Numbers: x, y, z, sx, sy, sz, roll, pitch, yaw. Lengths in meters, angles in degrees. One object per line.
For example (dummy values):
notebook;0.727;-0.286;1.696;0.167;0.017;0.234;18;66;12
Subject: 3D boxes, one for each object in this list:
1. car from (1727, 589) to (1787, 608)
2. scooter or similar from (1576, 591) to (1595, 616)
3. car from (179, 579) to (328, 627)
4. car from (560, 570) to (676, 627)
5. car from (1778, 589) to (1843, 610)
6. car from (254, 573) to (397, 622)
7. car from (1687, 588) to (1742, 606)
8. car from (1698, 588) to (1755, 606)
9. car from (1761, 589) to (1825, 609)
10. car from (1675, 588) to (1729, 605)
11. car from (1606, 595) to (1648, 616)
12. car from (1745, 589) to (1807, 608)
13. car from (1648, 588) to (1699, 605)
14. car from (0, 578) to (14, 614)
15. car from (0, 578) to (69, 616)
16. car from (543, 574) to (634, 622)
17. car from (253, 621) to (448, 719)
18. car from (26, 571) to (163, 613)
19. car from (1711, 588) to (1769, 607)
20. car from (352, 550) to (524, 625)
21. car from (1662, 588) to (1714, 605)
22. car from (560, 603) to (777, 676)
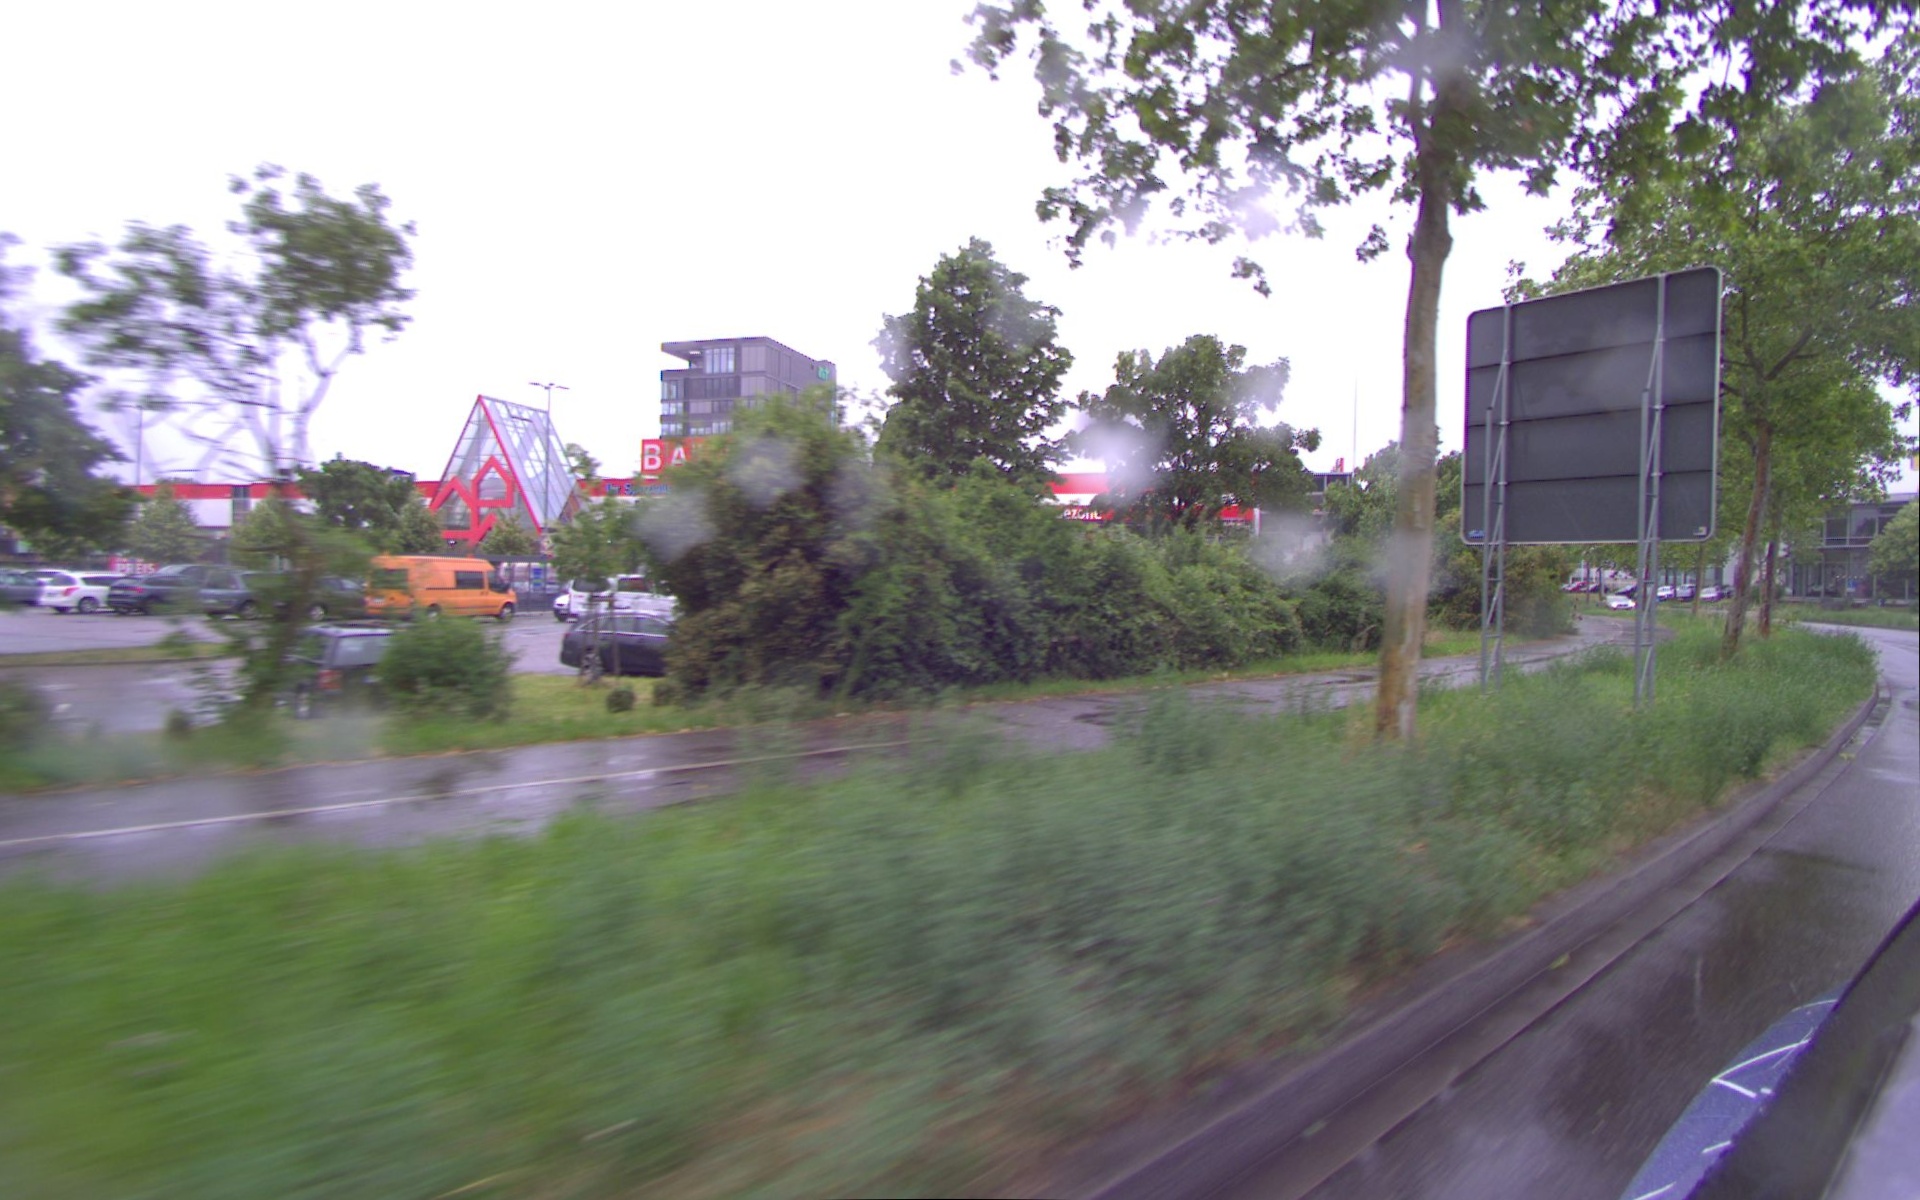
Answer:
car;72.570;-0.165;92.189;3.926;1.680;1.864;-1;0;2
scooter or similar;34.080;0.180;55.133;0.444;1.290;1.594;1;1;15
car;-25.821;0.081;37.192;1.911;1.655;4.320;0;0;14
car;-12.236;-0.092;36.558;1.799;1.894;4.493;1;1;15
car;72.322;-0.079;86.107;3.926;1.680;1.864;-1;0;2
car;-23.043;-0.100;36.971;1.911;1.655;4.320;0;0;14
car;73.793;-0.303;98.974;3.926;1.680;1.864;-1;0;2
car;73.322;-0.268;96.836;3.926;1.680;1.864;-1;0;2
car;72.442;-0.108;88.082;3.926;1.680;1.864;-1;0;2
car;74.194;-0.339;101.214;3.926;1.680;1.864;-1;0;2
car;56.375;0.449;85.597;1.974;1.671;3.976;0;1;19
car;72.573;-0.136;90.045;3.926;1.680;1.864;-1;0;2
car;74.411;-0.401;105.543;3.926;1.680;1.864;-1;0;2
car;-42.345;-0.182;42.433;1.781;1.546;3.487;0;0;22
car;-39.869;-0.135;42.334;1.781;1.546;3.487;0;0;22
car;-14.448;-0.102;39.566;1.727;1.766;3.607;1;1;12
car;-9.777;1.022;16.127;3.834;1.213;1.727;2;1;44
car;-33.610;-0.328;39.421;1.794;1.538;3.684;0;1;20
car;72.851;-0.230;94.595;3.926;1.680;1.864;-1;0;2
car;-17.991;-0.451;35.278;2.245;2.396;5.658;1;1;13
car;74.433;-0.374;103.485;3.926;1.680;1.864;-1;0;2
car;-6.287;0.801;21.957;4.232;1.388;1.747;1;1;14
